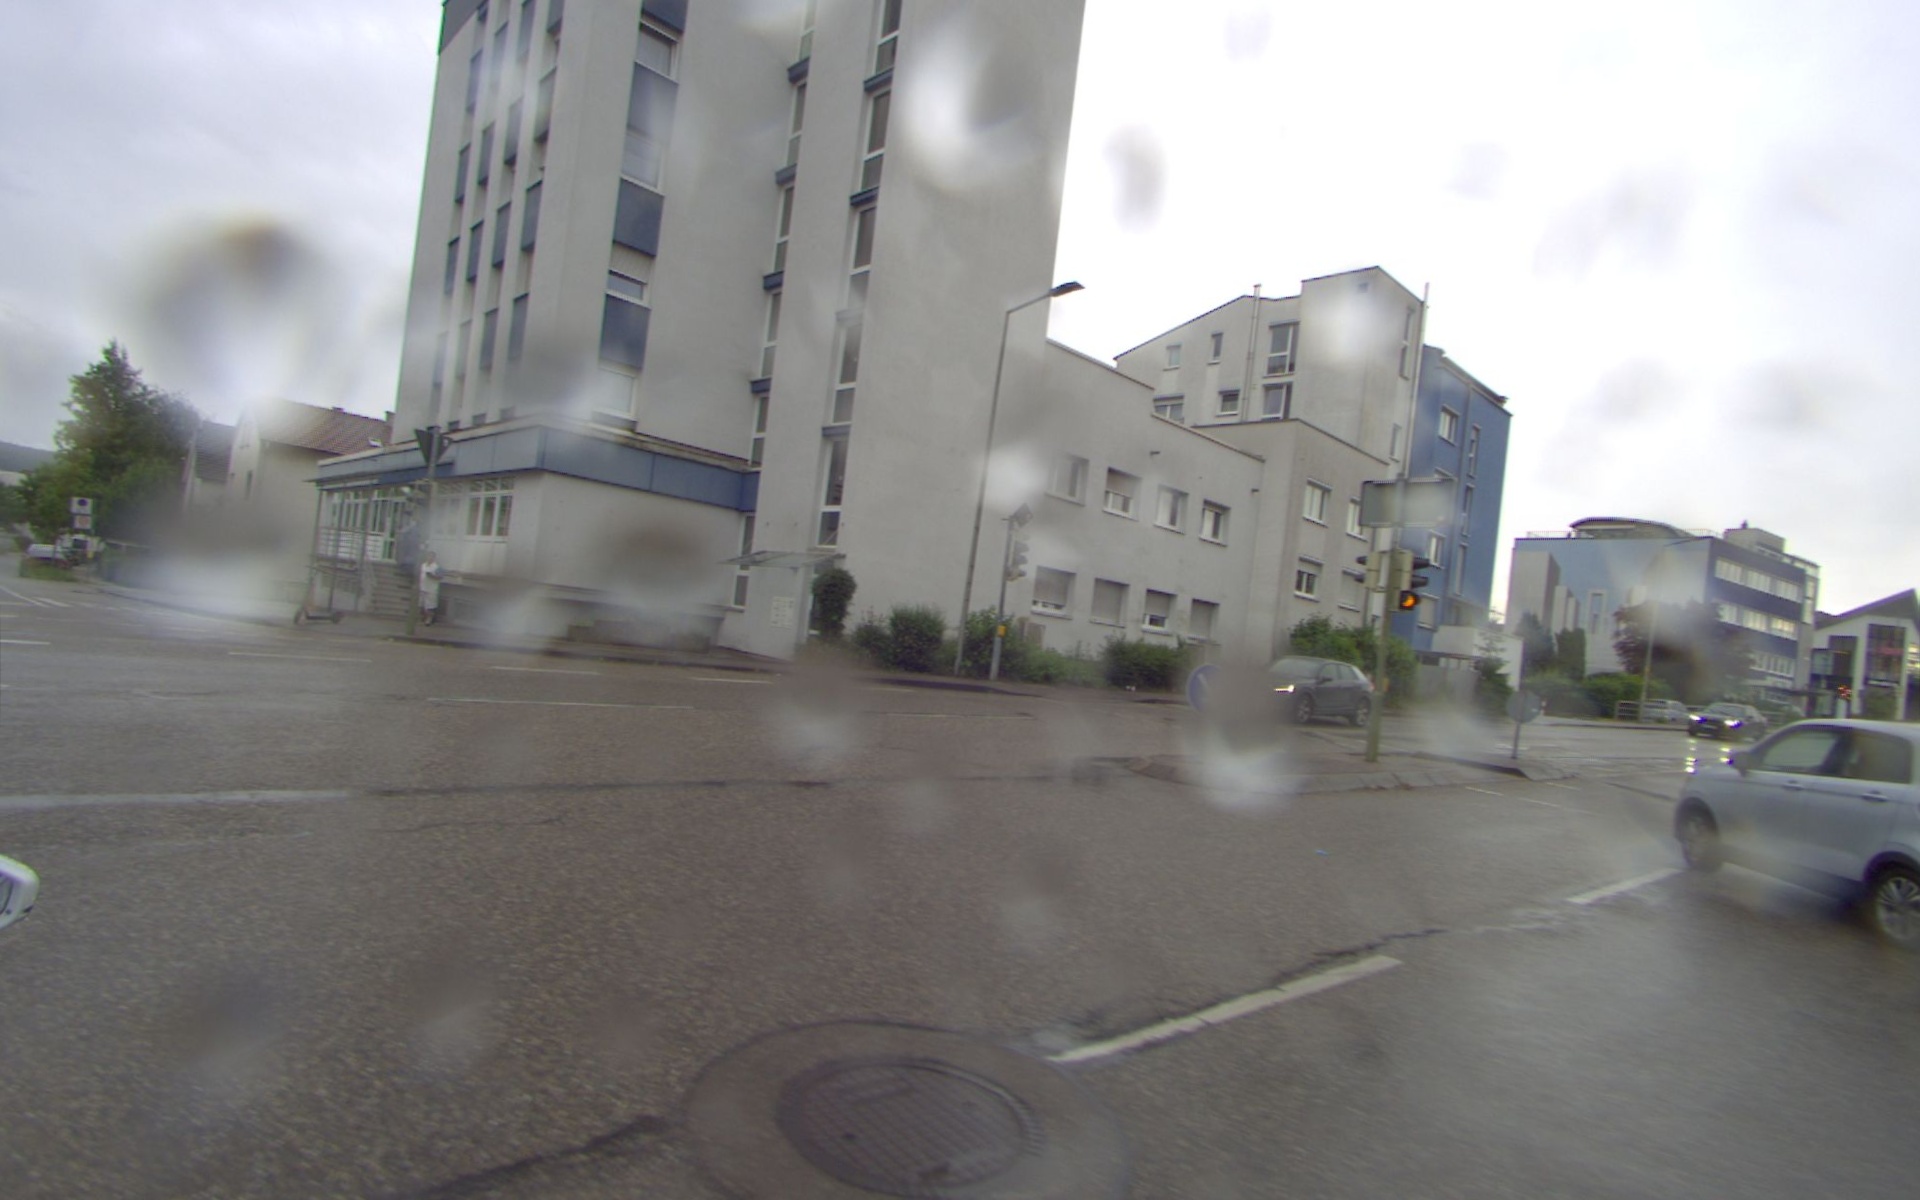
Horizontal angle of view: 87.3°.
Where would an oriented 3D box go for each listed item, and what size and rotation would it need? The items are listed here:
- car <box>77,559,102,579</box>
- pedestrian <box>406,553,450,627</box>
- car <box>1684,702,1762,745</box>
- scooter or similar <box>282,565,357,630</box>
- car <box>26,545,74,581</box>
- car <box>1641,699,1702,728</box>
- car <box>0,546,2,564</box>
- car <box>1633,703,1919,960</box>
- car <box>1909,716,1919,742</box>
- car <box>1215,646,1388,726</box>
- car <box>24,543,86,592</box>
[{"bbox_3d":[-101.842,-3.580,117.731,1.984,2.037,3.959,6,-3,-40],"label":"car"},{"bbox_3d":[-12.572,-0.224,23.770,0.652,1.670,0.638,6,-4,-45],"label":"pedestrian"},{"bbox_3d":[31.961,5.194,42.090,3.971,1.496,1.736,8,-3,-41],"label":"car"},{"bbox_3d":[-13.561,-0.043,21.314,0.790,1.241,1.059,1,-4,36],"label":"scooter or similar"},{"bbox_3d":[-59.689,-2.394,66.050,1.984,2.037,3.959,6,-3,-40],"label":"car"},{"bbox_3d":[40.483,6.465,57.245,3.847,1.302,1.644,7,-3,-36],"label":"car"},{"bbox_3d":[-96.336,-4.677,99.373,1.984,1.724,3.964,6,-5,-38],"label":"car"},{"bbox_3d":[7.511,1.786,8.204,1.662,1.572,3.912,4,-3,6],"label":"car"},{"bbox_3d":[61.756,8.273,63.448,3.981,1.562,1.885,7,-3,-33],"label":"car"},{"bbox_3d":[8.057,2.035,23.584,4.112,1.504,1.725,7,-1,-37],"label":"car"},{"bbox_3d":[-44.855,-1.573,49.920,1.985,2.036,3.962,6,-5,-40],"label":"car"}]
